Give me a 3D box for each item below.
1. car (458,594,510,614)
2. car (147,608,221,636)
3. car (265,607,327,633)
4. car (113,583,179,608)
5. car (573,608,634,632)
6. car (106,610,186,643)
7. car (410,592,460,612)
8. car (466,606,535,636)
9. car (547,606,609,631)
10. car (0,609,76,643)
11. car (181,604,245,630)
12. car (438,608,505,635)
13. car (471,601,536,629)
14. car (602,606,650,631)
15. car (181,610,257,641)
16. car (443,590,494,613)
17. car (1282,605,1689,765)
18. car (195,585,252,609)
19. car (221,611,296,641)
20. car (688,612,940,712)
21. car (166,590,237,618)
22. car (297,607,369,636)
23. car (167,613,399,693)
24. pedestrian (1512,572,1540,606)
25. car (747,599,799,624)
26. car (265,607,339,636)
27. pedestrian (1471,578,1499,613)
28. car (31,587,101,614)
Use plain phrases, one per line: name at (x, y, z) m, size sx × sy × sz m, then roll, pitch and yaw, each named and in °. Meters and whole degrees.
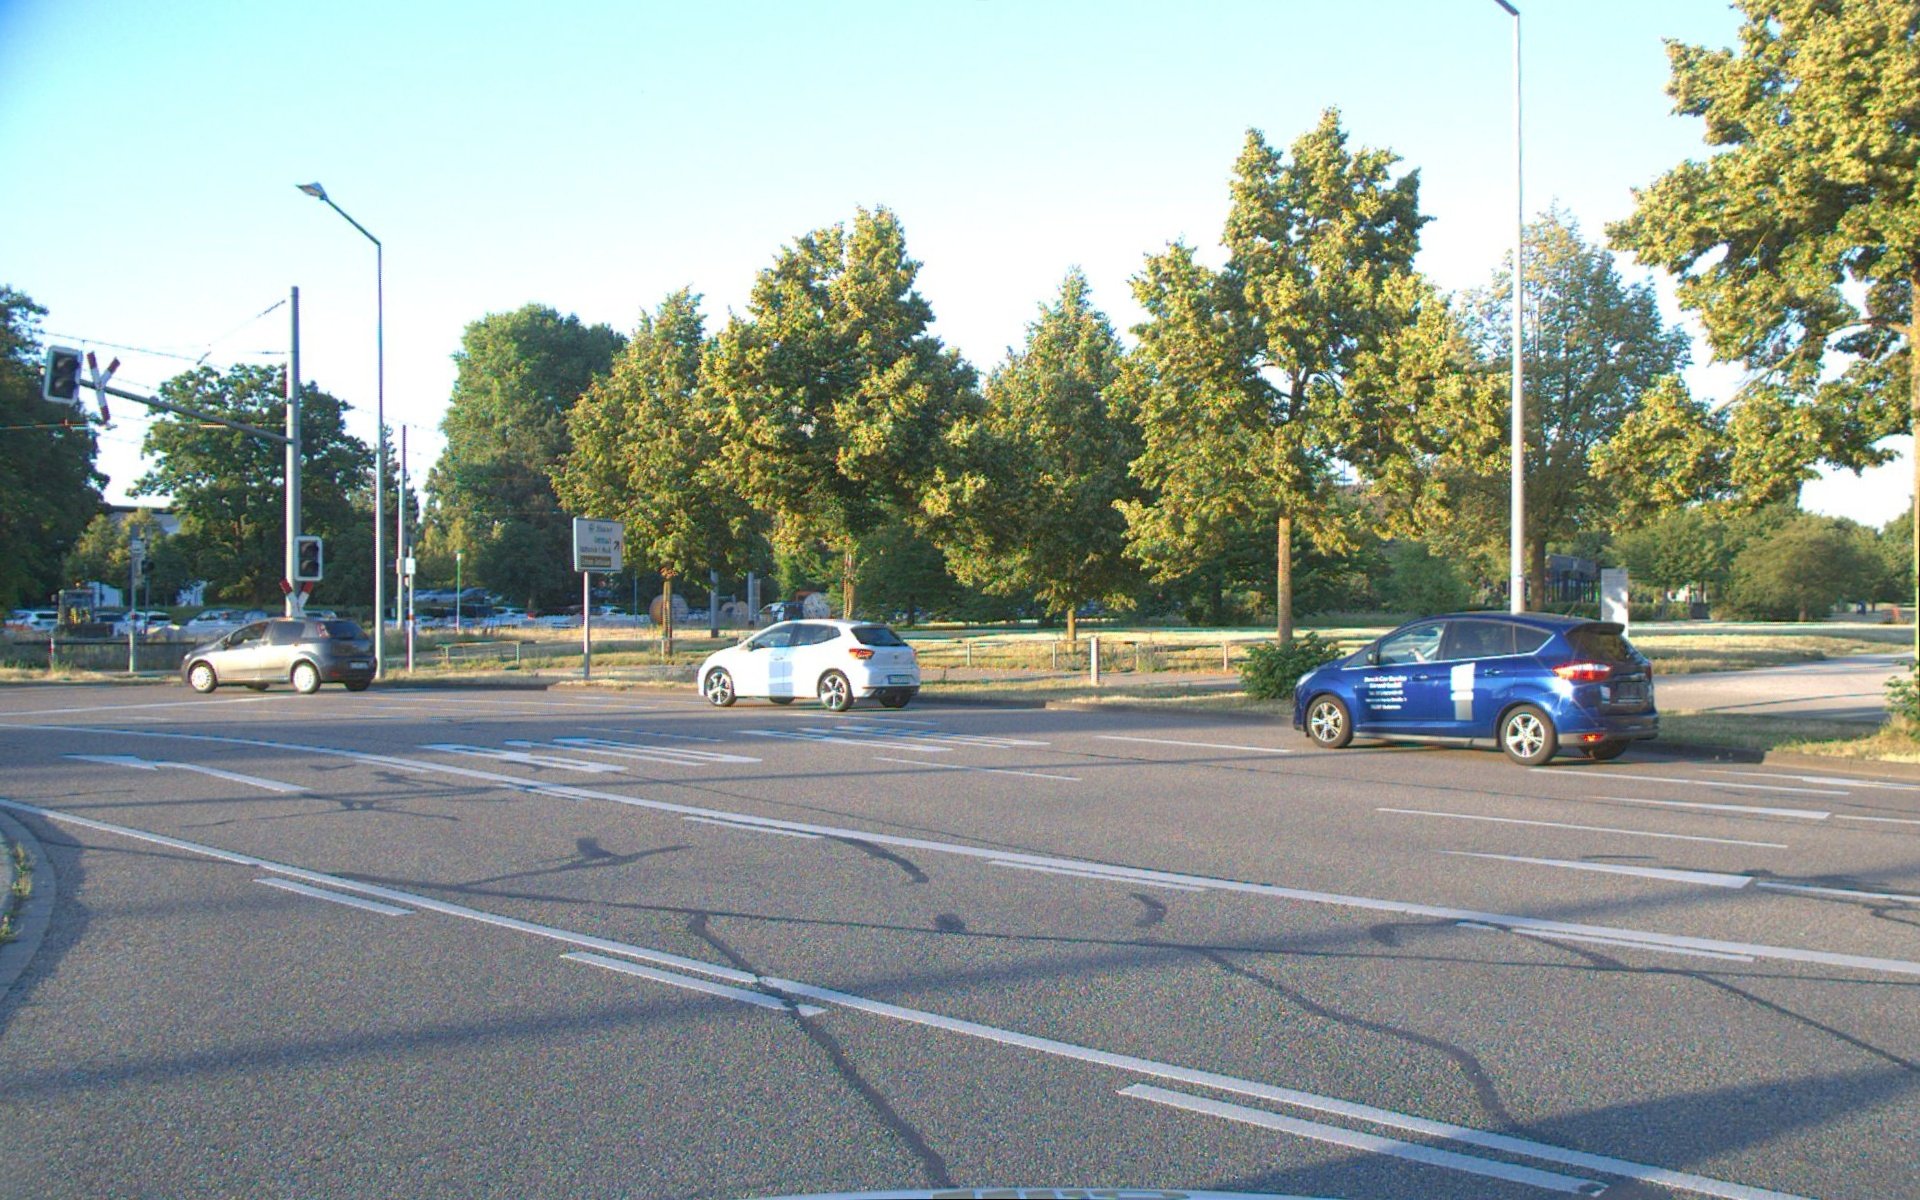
car at (-41.647, 0.340, 144.712) m, size 3.902 × 1.736 × 2.001 m, roll 0°, pitch 0°, yaw 6°
car at (-50.195, 1.406, 107.073) m, size 1.863 × 1.691 × 3.987 m, roll 0°, pitch 0°, yaw 34°
car at (-45.780, 1.357, 114.101) m, size 3.933 × 1.691 × 1.889 m, roll 0°, pitch 0°, yaw -23°
car at (-67.077, -0.368, 136.332) m, size 1.958 × 2.049 × 4.585 m, roll 0°, pitch 0°, yaw 33°
car at (-24.864, 1.356, 115.409) m, size 3.915 × 1.632 × 1.995 m, roll 0°, pitch 0°, yaw 32°
car at (-42.224, 1.344, 85.775) m, size 3.915 × 1.632 × 1.995 m, roll 0°, pitch 0°, yaw 32°
car at (-47.908, 0.160, 151.053) m, size 1.959 × 1.847 × 3.987 m, roll 0°, pitch 0°, yaw 34°
car at (-32.487, 1.476, 117.141) m, size 4.499 × 2.049 × 1.996 m, roll 0°, pitch 0°, yaw -9°
car at (-26.233, 1.270, 113.660) m, size 3.915 × 1.632 × 1.995 m, roll 0°, pitch 0°, yaw 32°
car at (-45.595, 1.267, 81.423) m, size 3.915 × 1.632 × 1.995 m, roll 0°, pitch 0°, yaw 32°
car at (-50.524, 1.146, 111.860) m, size 3.939 × 1.691 × 1.983 m, roll 0°, pitch 0°, yaw -27°
car at (-30.941, 1.355, 104.672) m, size 3.915 × 1.632 × 1.995 m, roll 0°, pitch 0°, yaw 32°
car at (-34.530, 1.123, 125.254) m, size 4.499 × 2.049 × 1.996 m, roll 0°, pitch 0°, yaw -9°
car at (-25.934, 1.442, 128.339) m, size 1.979 × 1.782 × 4.538 m, roll 0°, pitch 1°, yaw -37°
car at (-40.499, 1.394, 90.364) m, size 3.915 × 1.632 × 1.995 m, roll 0°, pitch 0°, yaw 32°
car at (-44.047, 0.155, 148.225) m, size 1.963 × 2.049 × 3.979 m, roll 0°, pitch 0°, yaw 40°
car at (5.924, 0.873, 19.004) m, size 1.898 × 1.611 × 4.119 m, roll 1°, pitch -1°, yaw -40°
car at (-63.334, -0.279, 142.353) m, size 1.958 × 2.049 × 4.105 m, roll 0°, pitch 0°, yaw 33°
car at (-39.056, 1.426, 92.032) m, size 3.915 × 1.632 × 1.995 m, roll 0°, pitch 0°, yaw 32°
car at (-2.445, 0.975, 27.371) m, size 3.892 × 1.479 × 1.861 m, roll 0°, pitch 1°, yaw 36°
car at (-56.609, 0.279, 123.481) m, size 1.956 × 2.049 × 4.590 m, roll 0°, pitch 0°, yaw 29°
car at (-36.411, 1.224, 96.075) m, size 3.915 × 1.632 × 1.995 m, roll 0°, pitch 0°, yaw 32°
car at (-13.452, 1.024, 32.901) m, size 4.063 × 1.479 × 1.868 m, roll 0°, pitch -1°, yaw 20°
pedestrian at (27.155, -0.521, 79.317) m, size 1.047 × 1.646 × 0.911 m, roll 0°, pitch 0°, yaw 2°
car at (-12.966, 0.793, 114.656) m, size 1.724 × 1.646 × 3.940 m, roll 0°, pitch 0°, yaw -41°
car at (-37.356, 1.198, 93.857) m, size 3.915 × 1.632 × 1.995 m, roll 0°, pitch 0°, yaw 32°
pedestrian at (25.319, -0.219, 79.795) m, size 1.047 × 1.646 × 0.911 m, roll 0°, pitch 0°, yaw 2°
car at (-70.494, 0.020, 130.458) m, size 1.956 × 2.049 × 4.590 m, roll 0°, pitch 0°, yaw 29°
